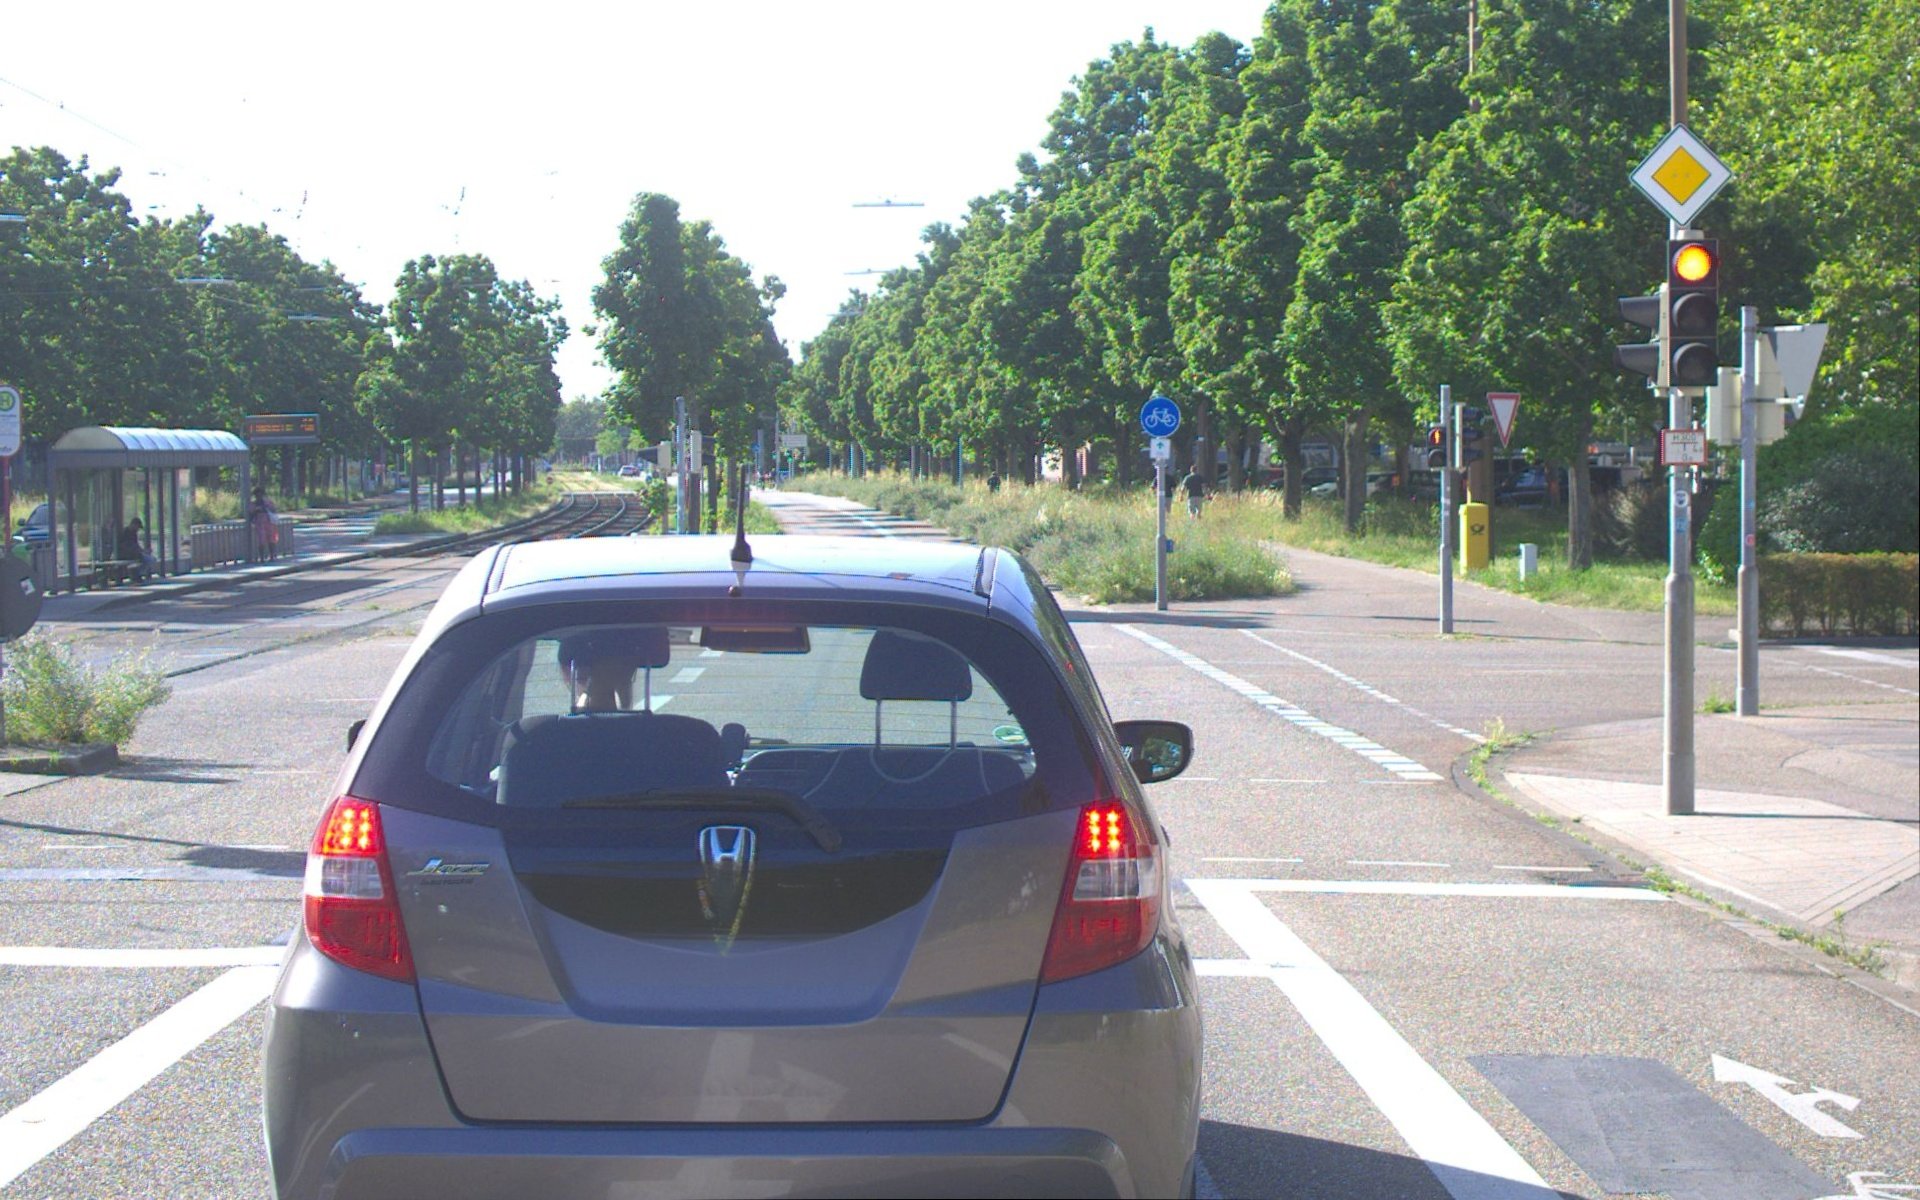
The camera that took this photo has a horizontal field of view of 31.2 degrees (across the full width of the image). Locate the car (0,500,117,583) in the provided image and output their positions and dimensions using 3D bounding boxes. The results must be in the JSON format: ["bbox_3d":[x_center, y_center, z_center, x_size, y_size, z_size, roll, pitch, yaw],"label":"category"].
[{"bbox_3d":[-22.075,-1.445,83.640,2.093,1.803,4.794,-2,3,-3],"label":"car"}]

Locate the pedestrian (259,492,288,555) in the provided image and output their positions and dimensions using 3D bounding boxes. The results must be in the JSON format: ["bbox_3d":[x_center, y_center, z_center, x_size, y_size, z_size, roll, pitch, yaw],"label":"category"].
[{"bbox_3d":[-15.998,-1.779,80.088,0.544,1.442,0.559,-1,1,-1],"label":"pedestrian"}]

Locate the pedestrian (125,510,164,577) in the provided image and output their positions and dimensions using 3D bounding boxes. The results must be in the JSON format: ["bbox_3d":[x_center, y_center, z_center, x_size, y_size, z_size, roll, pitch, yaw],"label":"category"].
[{"bbox_3d":[-15.547,-1.085,65.536,0.563,1.252,0.581,-3,1,-1],"label":"pedestrian"}]

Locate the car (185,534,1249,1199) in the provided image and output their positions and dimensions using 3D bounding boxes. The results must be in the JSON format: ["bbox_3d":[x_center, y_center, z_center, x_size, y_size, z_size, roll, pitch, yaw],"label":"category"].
[{"bbox_3d":[-0.412,0.629,7.376,1.701,1.518,3.710,0,1,-1],"label":"car"}]

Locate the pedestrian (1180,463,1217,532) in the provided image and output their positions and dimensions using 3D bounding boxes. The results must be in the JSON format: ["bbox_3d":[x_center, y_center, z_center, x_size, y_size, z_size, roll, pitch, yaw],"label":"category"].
[{"bbox_3d":[6.619,-2.850,95.410,0.882,1.877,0.875,-1,2,-4],"label":"pedestrian"}]

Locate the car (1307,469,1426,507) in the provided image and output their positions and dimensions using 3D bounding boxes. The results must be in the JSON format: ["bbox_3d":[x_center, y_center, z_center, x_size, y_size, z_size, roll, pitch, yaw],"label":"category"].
[{"bbox_3d":[17.082,-4.710,144.529,4.630,1.550,2.001,-1,2,-6],"label":"car"}]

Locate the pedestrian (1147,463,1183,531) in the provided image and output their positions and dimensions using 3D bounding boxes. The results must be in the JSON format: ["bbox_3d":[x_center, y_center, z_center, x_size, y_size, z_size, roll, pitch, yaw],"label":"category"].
[{"bbox_3d":[5.679,-2.863,95.392,0.882,1.877,0.875,-1,2,-4],"label":"pedestrian"}]
